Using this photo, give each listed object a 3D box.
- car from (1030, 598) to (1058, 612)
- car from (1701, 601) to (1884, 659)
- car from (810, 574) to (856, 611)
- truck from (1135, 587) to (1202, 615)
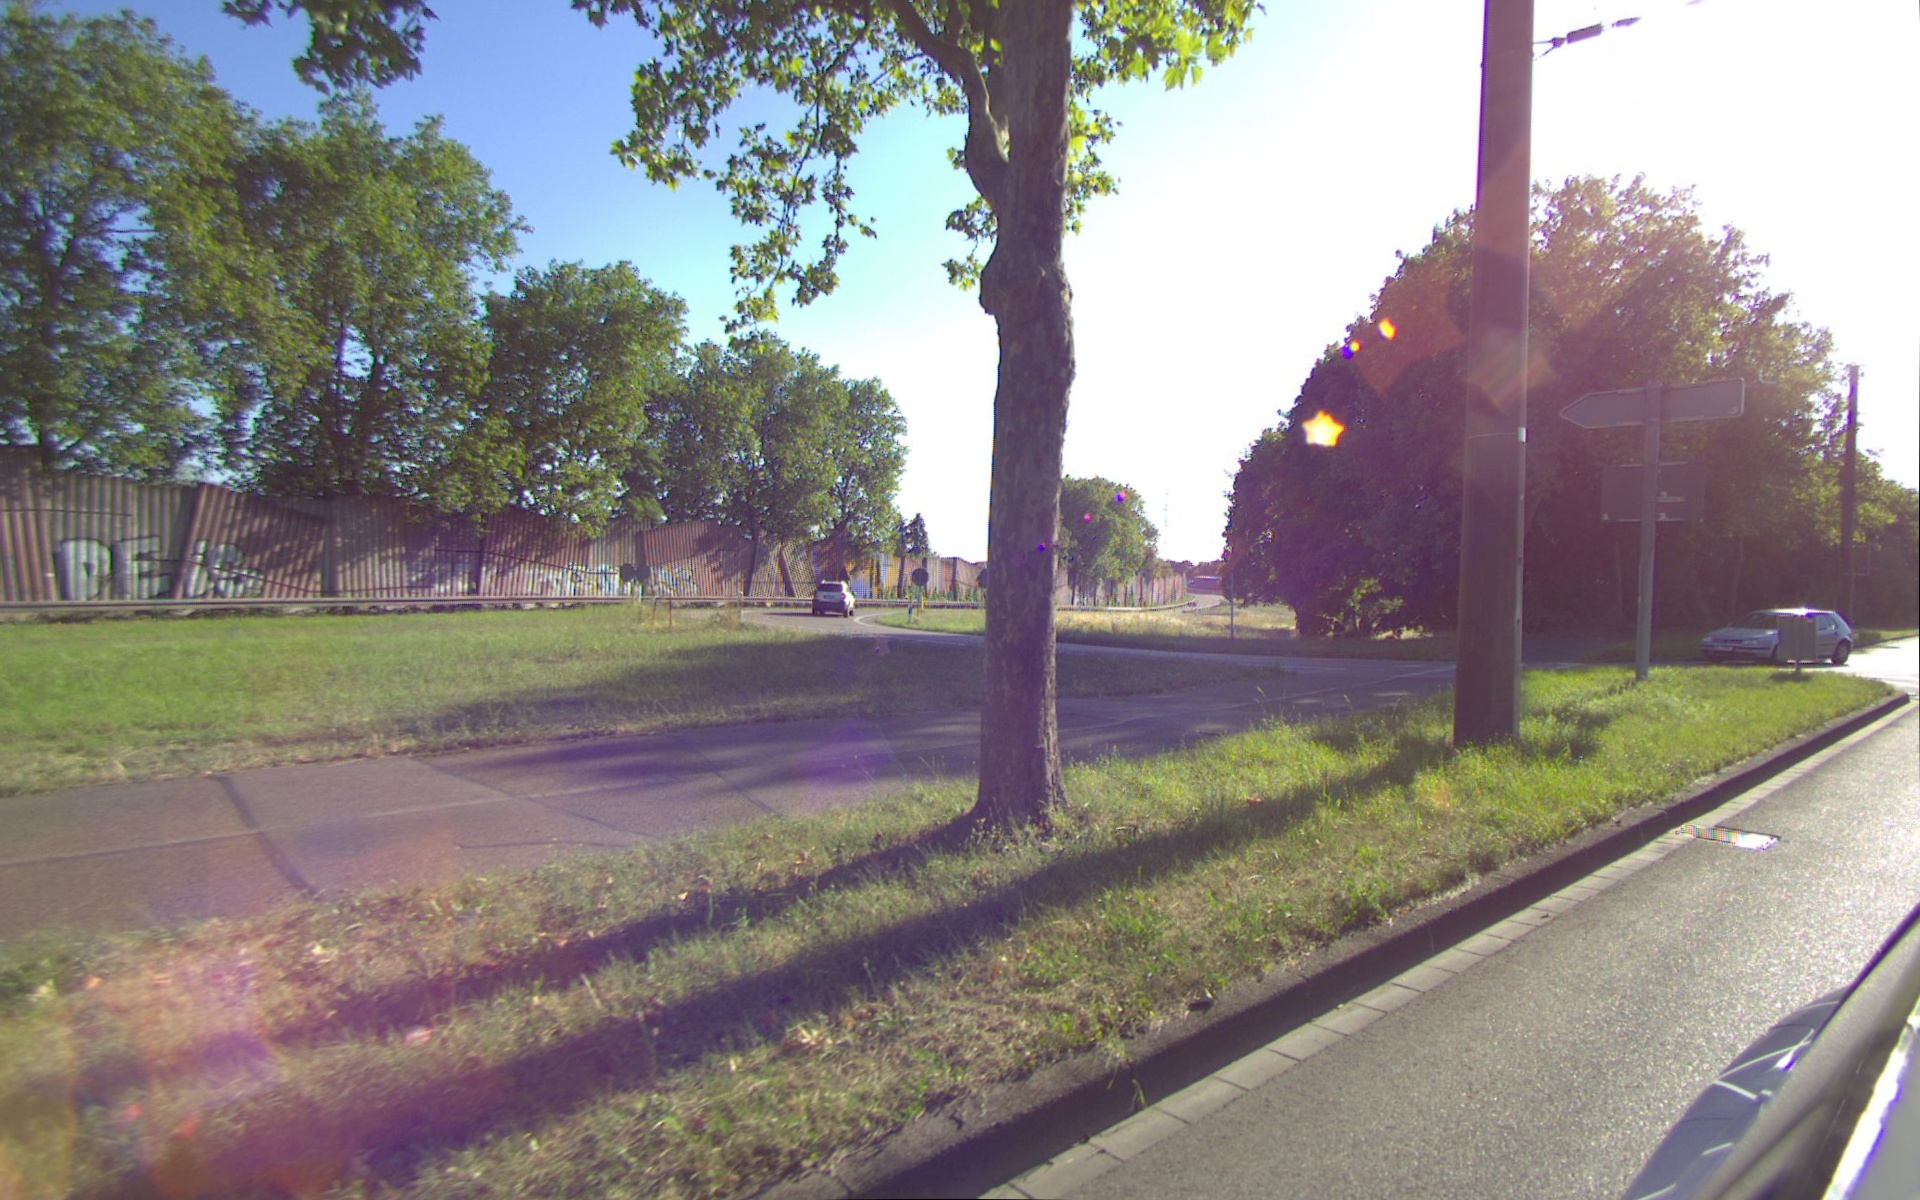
[{"bbox_3d":[9.076,0.511,109.099,1.778,1.458,4.191,1,1,23],"label":"car"},{"bbox_3d":[21.883,0.750,26.635,4.048,1.435,1.698,0,1,-16],"label":"car"},{"bbox_3d":[-6.352,-0.378,50.791,1.781,1.795,3.862,0,1,1],"label":"car"},{"bbox_3d":[34.612,0.113,167.967,10.484,3.536,2.634,6,3,21],"label":"truck"}]
